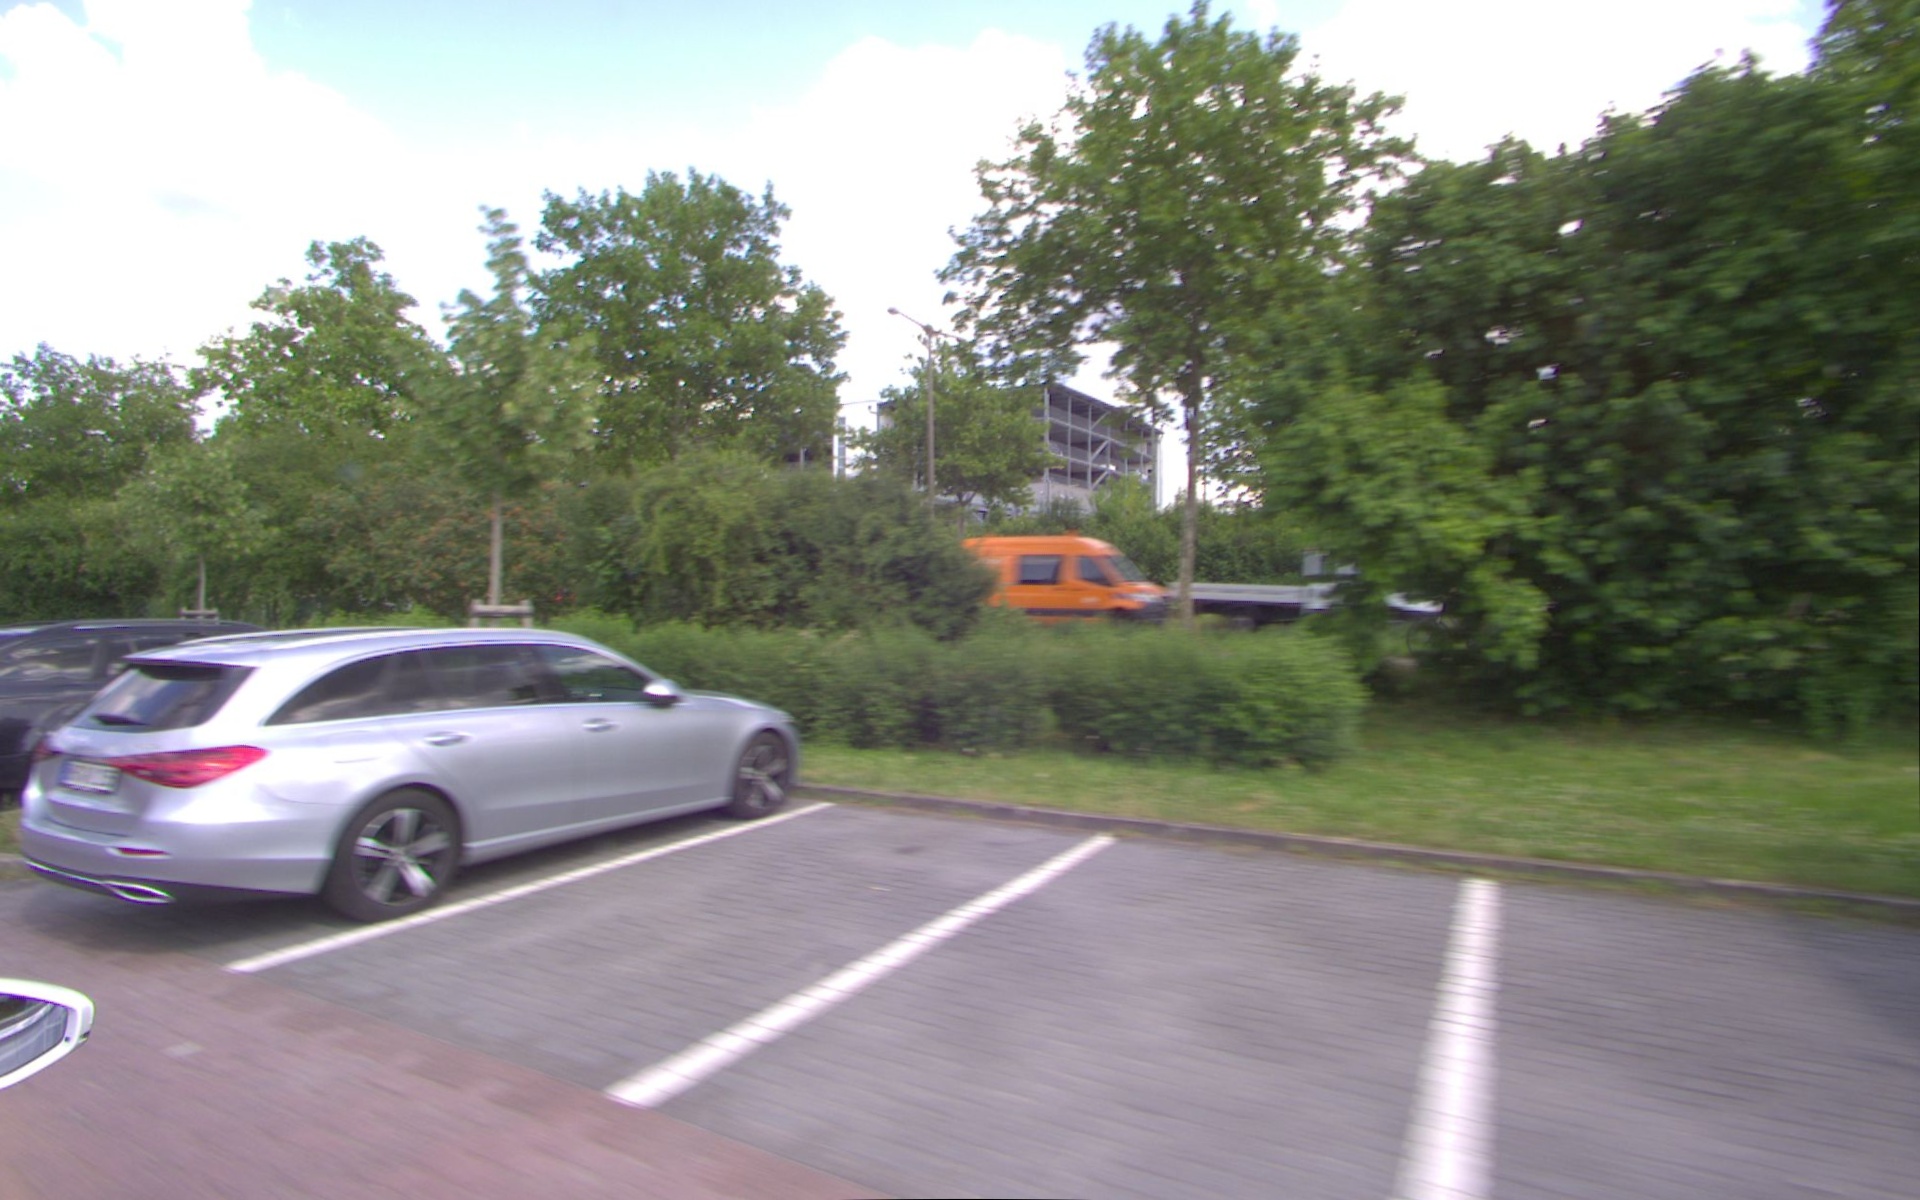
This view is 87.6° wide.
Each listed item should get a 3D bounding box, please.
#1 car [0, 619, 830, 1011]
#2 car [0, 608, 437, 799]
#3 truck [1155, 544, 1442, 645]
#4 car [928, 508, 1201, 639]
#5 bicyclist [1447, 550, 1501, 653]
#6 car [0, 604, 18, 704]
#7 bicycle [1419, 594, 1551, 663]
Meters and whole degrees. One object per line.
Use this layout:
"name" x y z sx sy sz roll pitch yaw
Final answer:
"car" -2.927 0.922 6.535 1.757 1.524 4.634 0 0 28
"car" -7.113 0.843 9.063 1.673 1.398 3.986 -2 -3 28
"truck" 8.724 -0.120 26.110 6.880 2.374 1.992 0 0 28
"car" 2.608 -0.525 26.263 6.886 2.920 1.992 -3 -3 30
"bicyclist" 8.246 0.041 16.054 0.751 1.612 0.634 0 -2 30
"car" -17.306 0.868 14.971 1.969 1.617 4.302 0 0 28
"bicycle" 8.358 0.458 15.994 1.843 1.050 0.525 -1 -2 30
